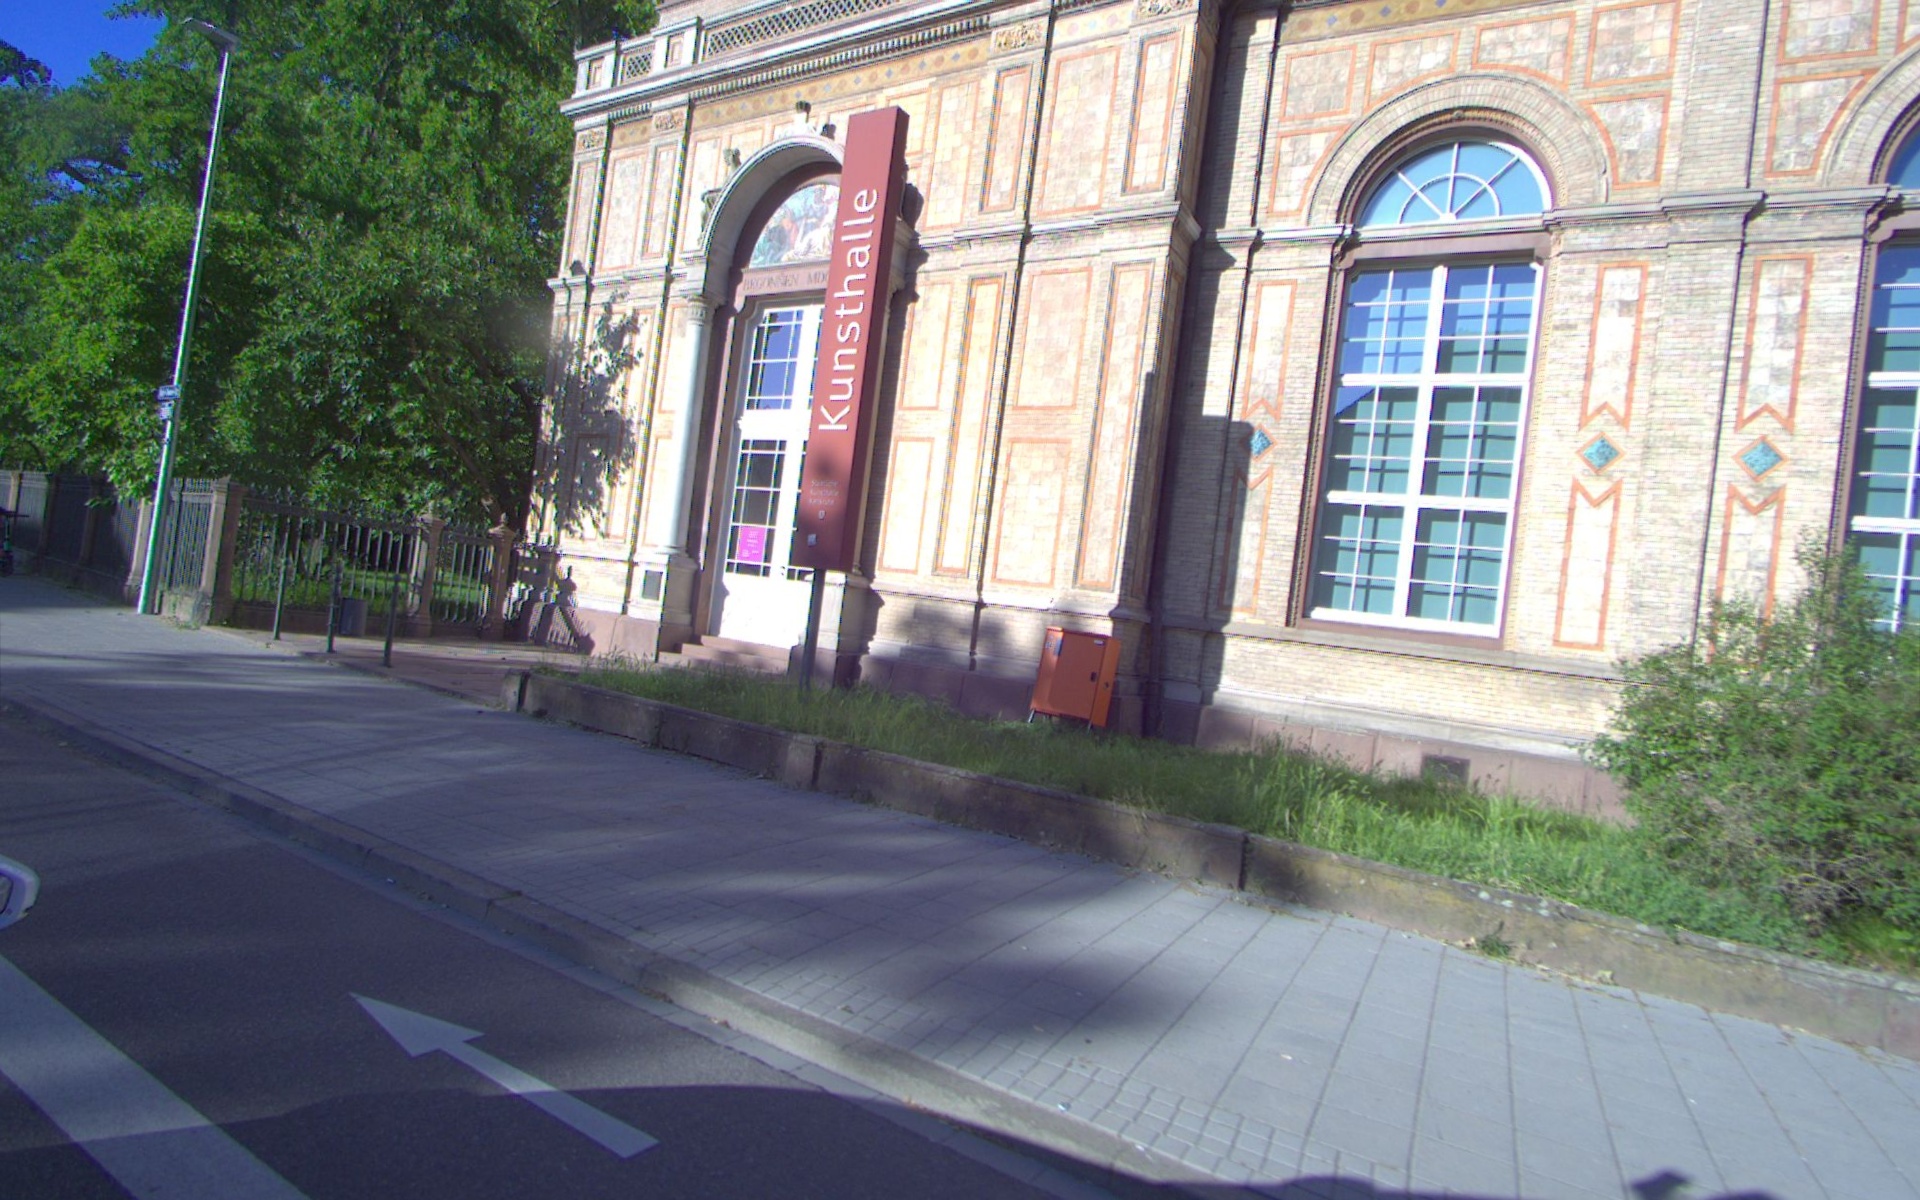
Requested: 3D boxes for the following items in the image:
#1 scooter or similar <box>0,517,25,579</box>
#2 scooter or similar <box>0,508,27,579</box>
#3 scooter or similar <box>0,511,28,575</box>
[{"bbox_3d":[-18.736,-1.045,19.526,1.314,1.136,0.481,6,0,33],"label":"scooter or similar"},{"bbox_3d":[-18.025,-1.090,18.789,1.140,1.255,0.298,7,0,21],"label":"scooter or similar"},{"bbox_3d":[-20.135,-1.239,20.779,1.529,1.258,0.549,7,0,19],"label":"scooter or similar"}]
